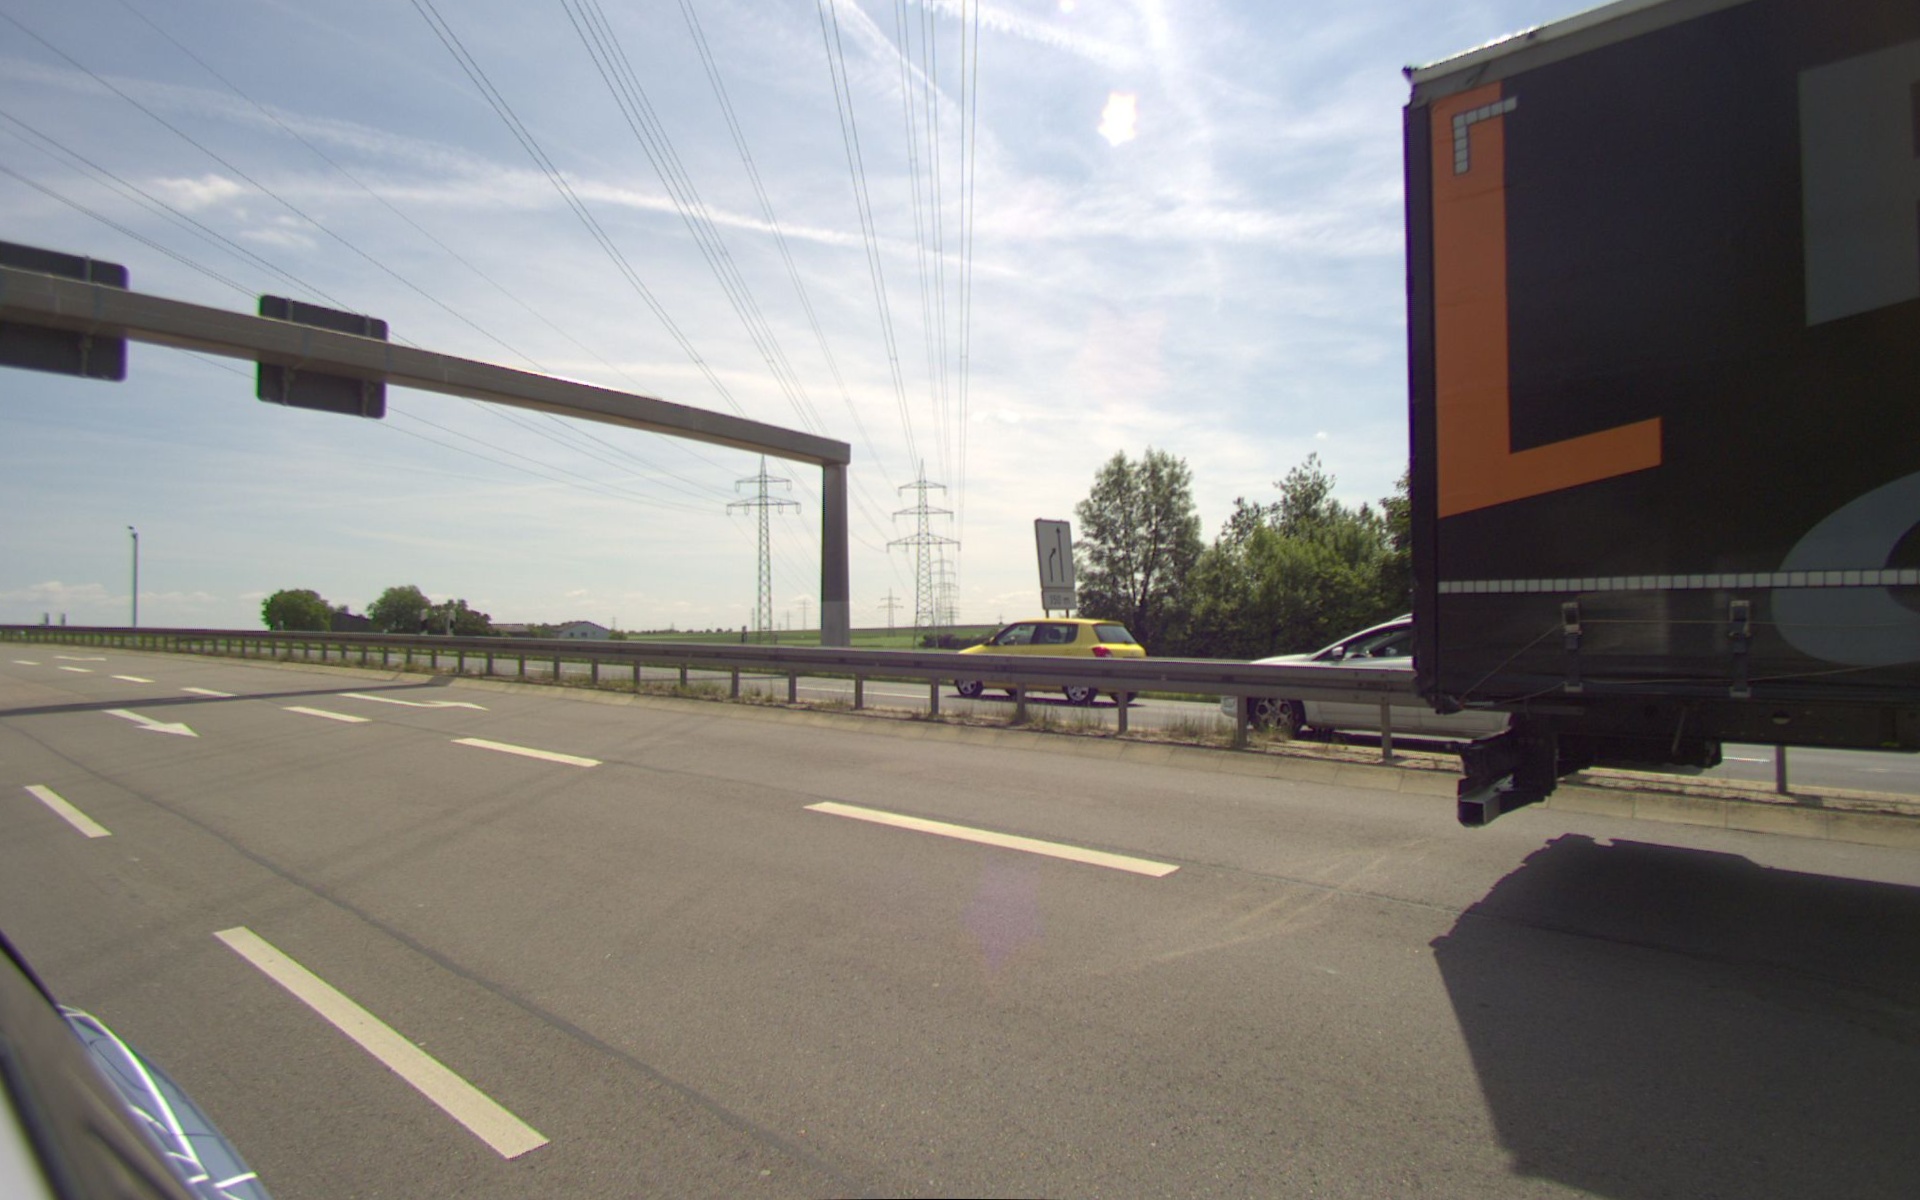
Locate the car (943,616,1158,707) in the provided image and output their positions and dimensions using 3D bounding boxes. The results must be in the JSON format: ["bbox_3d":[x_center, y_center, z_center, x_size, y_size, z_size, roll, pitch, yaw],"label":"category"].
[{"bbox_3d":[1.583,1.083,18.387,3.700,1.492,1.498,-1,-4,40],"label":"car"}]

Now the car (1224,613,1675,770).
[{"bbox_3d":[5.376,0.906,11.437,4.321,1.454,1.718,-1,-3,40],"label":"car"}]

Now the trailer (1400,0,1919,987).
[{"bbox_3d":[8.160,-0.655,1.256,13.780,3.943,2.754,-1,0,41],"label":"trailer"}]
